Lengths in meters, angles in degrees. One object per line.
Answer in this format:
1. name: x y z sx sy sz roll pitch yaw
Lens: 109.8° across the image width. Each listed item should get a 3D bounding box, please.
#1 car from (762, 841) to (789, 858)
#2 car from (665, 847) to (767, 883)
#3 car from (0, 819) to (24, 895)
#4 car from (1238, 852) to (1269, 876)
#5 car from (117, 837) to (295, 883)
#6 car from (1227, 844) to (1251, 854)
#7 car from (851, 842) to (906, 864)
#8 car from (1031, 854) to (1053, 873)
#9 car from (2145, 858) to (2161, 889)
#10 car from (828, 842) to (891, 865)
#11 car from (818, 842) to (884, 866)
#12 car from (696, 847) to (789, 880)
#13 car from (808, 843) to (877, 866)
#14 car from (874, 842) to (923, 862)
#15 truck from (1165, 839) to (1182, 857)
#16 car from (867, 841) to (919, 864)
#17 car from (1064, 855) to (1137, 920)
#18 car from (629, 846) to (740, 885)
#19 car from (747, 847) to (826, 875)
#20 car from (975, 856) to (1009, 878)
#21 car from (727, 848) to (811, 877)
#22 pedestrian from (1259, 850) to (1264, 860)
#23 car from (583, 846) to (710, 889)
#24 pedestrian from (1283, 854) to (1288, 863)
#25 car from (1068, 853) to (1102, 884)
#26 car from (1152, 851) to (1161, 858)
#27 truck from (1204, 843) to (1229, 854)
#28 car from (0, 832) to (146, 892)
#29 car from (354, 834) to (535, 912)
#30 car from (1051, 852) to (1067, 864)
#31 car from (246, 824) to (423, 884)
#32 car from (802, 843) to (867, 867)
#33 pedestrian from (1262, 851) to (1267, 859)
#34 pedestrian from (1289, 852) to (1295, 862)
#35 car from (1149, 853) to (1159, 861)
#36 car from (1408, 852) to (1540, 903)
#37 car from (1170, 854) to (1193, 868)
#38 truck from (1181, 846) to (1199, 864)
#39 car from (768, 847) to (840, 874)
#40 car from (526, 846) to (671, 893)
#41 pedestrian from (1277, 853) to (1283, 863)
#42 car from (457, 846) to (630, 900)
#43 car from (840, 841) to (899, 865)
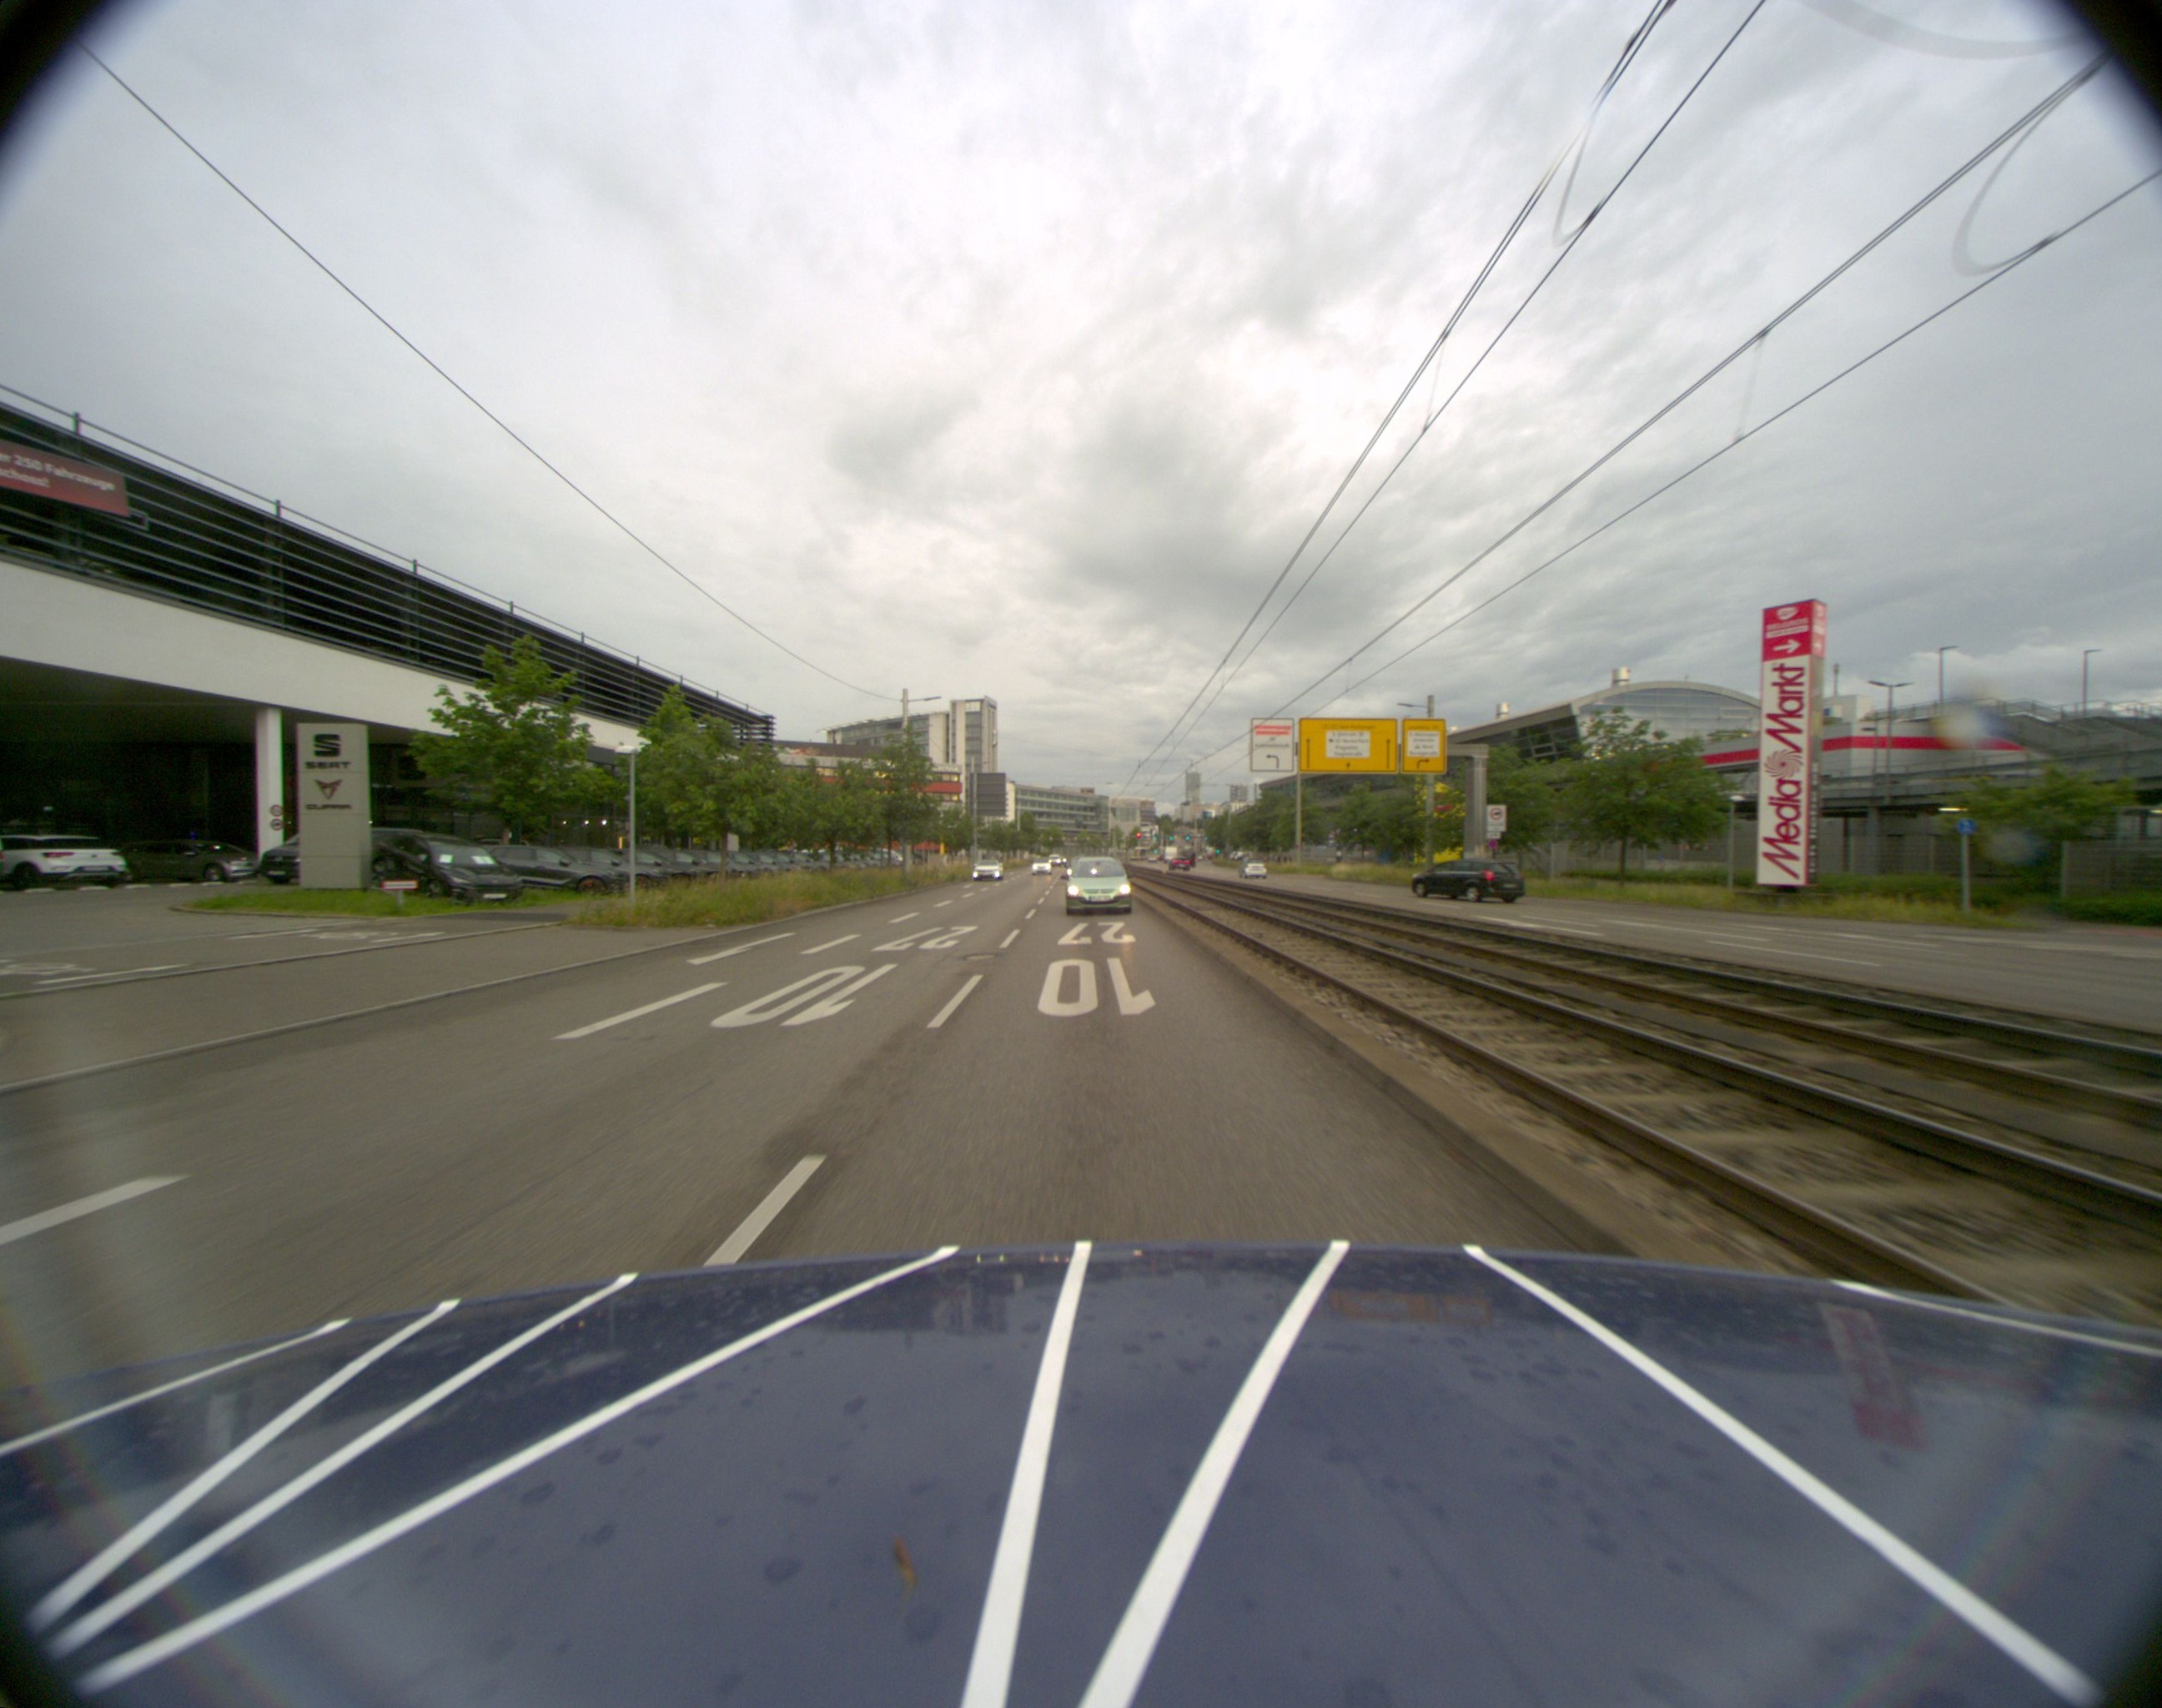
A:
1. car: -31.225 -0.426 77.593 1.848 1.634 4.305 0 0 -33
2. car: -17.062 0.496 35.758 4.157 1.560 1.906 1 1 -20
3. car: -29.989 0.074 19.091 4.037 1.964 1.944 0 1 -1
4. car: 12.667 0.725 55.902 1.602 1.528 2.949 2 2 0
5. car: -30.283 0.203 26.398 4.043 1.505 1.723 0 1 -2
6. car: 37.706 -1.136 181.425 5.067 2.318 1.997 0 0 -17
7. car: -17.353 -0.102 65.228 4.502 1.742 1.819 1 1 -13
8. car: -3.480 0.813 68.404 1.818 1.584 3.836 0 1 1
9. car: 46.502 0.877 31.457 1.659 1.275 4.116 -2 1 37
10. car: -17.274 -0.049 59.383 4.500 1.610 1.819 1 1 -9
11. car: -17.169 -0.029 56.885 4.501 1.653 1.819 1 1 -12
12. car: -17.039 0.470 38.481 4.157 1.519 1.828 1 1 -20
13. car: -17.012 0.032 54.331 4.501 1.560 1.819 1 1 -12
14. car: -17.383 -0.160 72.445 4.393 1.779 1.876 1 1 -14
15. truck: 18.301 -1.247 150.764 2.733 3.340 7.149 2 3 2
16. car: -17.367 -0.149 70.234 4.504 1.980 1.818 1 1 -18
17. car: 0.494 0.841 21.088 1.762 1.489 4.137 -3 1 0
18. car: -17.033 0.486 32.871 4.158 1.560 1.822 1 1 -25
19. car: -17.016 0.413 44.085 4.157 1.525 1.790 1 1 -20
20. car: -6.279 0.895 53.992 1.878 1.485 3.836 -1 0 1
21. car: -16.880 0.483 41.316 4.157 1.450 1.790 1 1 -20
22. pedestrian: 29.471 0.217 124.158 0.684 1.554 0.627 -3 1 0
23. car: -17.029 0.526 30.027 4.158 1.595 1.822 1 1 -25
24. pedestrian: 30.789 0.683 114.517 0.452 1.448 0.652 -3 1 -11
25. car: 0.274 0.759 42.196 1.762 1.535 3.714 -2 1 2
26. car: 18.893 0.152 190.259 1.998 1.721 4.678 1 0 1
27. truck: 45.662 -1.843 255.784 4.081 3.734 10.876 1 0 33
28. car: -29.764 0.206 21.580 3.997 1.623 1.904 0 1 -1
29. car: -17.262 0.451 20.596 4.709 1.865 1.828 2 1 23
30. car: -3.112 0.533 108.834 1.889 1.584 3.983 -1 0 6
31. car: -25.992 -0.016 26.705 1.892 1.927 4.429 0 0 -1
32. car: -16.843 0.083 52.063 4.058 1.493 1.685 1 1 -12
33. pedestrian: 31.870 0.175 132.079 0.550 1.489 0.758 -2 1 3
34. pedestrian: 30.610 0.370 110.385 0.609 1.431 0.745 -3 1 -4
35. car: 15.711 0.637 163.853 1.810 1.490 4.441 2 0 1
36. car: 14.795 0.838 28.891 2.002 1.725 4.205 2 0 -17
37. car: 10.389 0.719 78.526 1.807 1.420 4.236 1 0 0
38. truck: 16.294 0.084 113.587 2.243 2.550 7.016 0 1 5
39. car: -16.943 0.395 46.613 4.061 1.567 1.730 1 1 -20
40. car: -17.076 0.558 27.138 4.159 1.553 1.865 1 1 -26
41. pedestrian: 30.030 0.646 114.661 0.512 1.448 0.652 -3 1 -11
42. car: -17.028 0.591 24.377 4.342 1.603 1.865 1 1 -29
43. car: -17.288 -0.076 62.304 4.502 1.785 1.819 1 1 -13
